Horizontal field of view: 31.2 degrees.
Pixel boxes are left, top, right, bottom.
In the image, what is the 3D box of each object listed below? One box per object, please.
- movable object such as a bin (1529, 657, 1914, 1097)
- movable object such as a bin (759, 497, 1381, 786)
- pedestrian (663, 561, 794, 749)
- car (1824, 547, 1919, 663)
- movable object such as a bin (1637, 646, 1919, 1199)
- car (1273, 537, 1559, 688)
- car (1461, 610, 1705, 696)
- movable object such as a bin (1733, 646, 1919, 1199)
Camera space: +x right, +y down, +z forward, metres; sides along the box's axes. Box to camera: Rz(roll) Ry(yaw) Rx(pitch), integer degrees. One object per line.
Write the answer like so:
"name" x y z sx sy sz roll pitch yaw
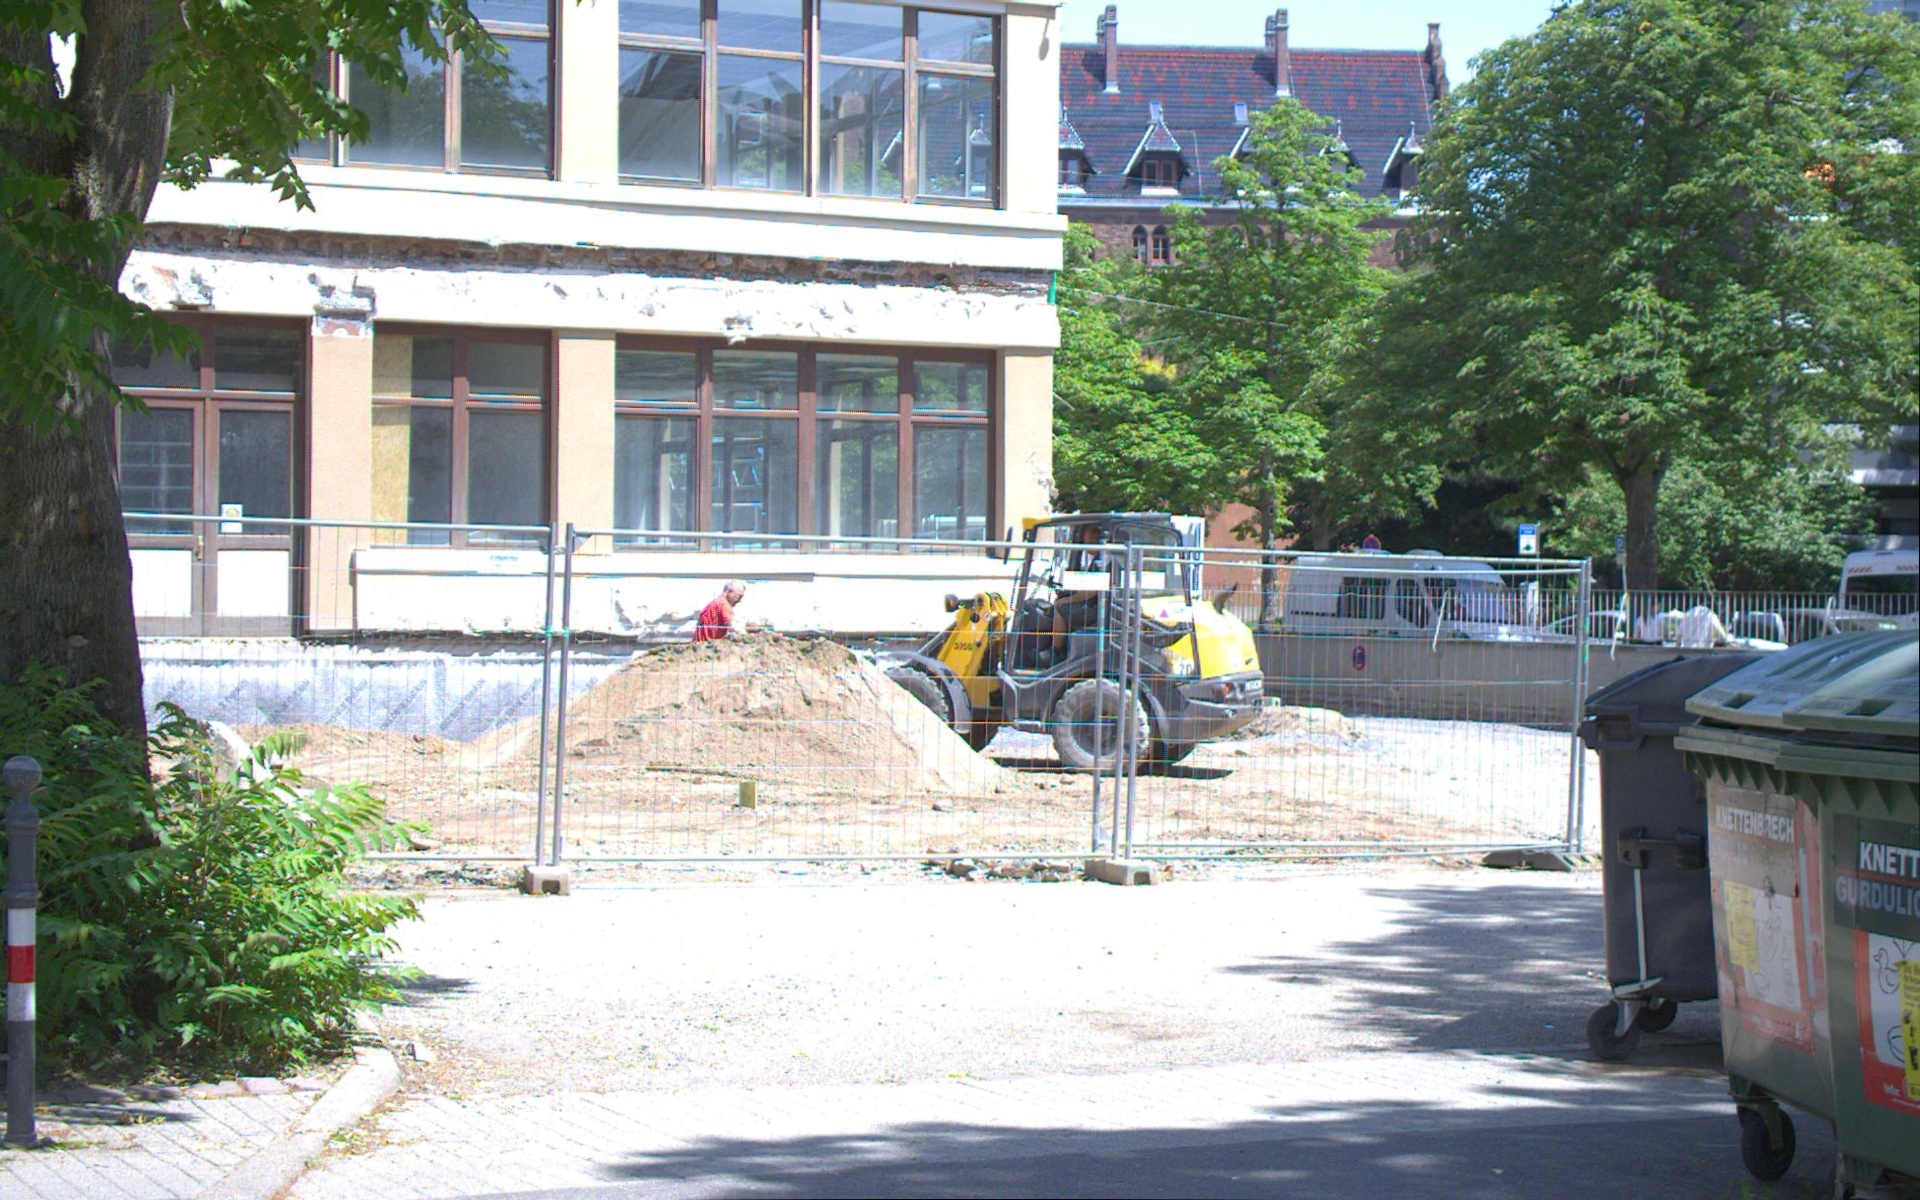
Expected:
"movable object such as a bin" 2.683 0.946 12.284 1.075 1.453 1.377 1 0 1
"movable object such as a bin" 1.045 0.344 33.090 5.411 2.456 2.364 2 0 26
"pedestrian" -2.309 0.543 34.312 0.984 1.840 0.916 0 0 22
"car" 18.895 0.108 69.422 2.187 2.250 4.863 1 0 22
"movable object such as a bin" 2.399 0.857 8.779 1.075 1.453 1.377 1 0 1
"car" 7.548 0.207 57.515 1.993 2.408 5.243 1 0 -29
"car" 10.982 0.914 60.948 1.668 1.433 4.687 1 0 -29
"movable object such as a bin" 2.344 0.837 7.357 1.075 1.453 1.377 1 0 1
